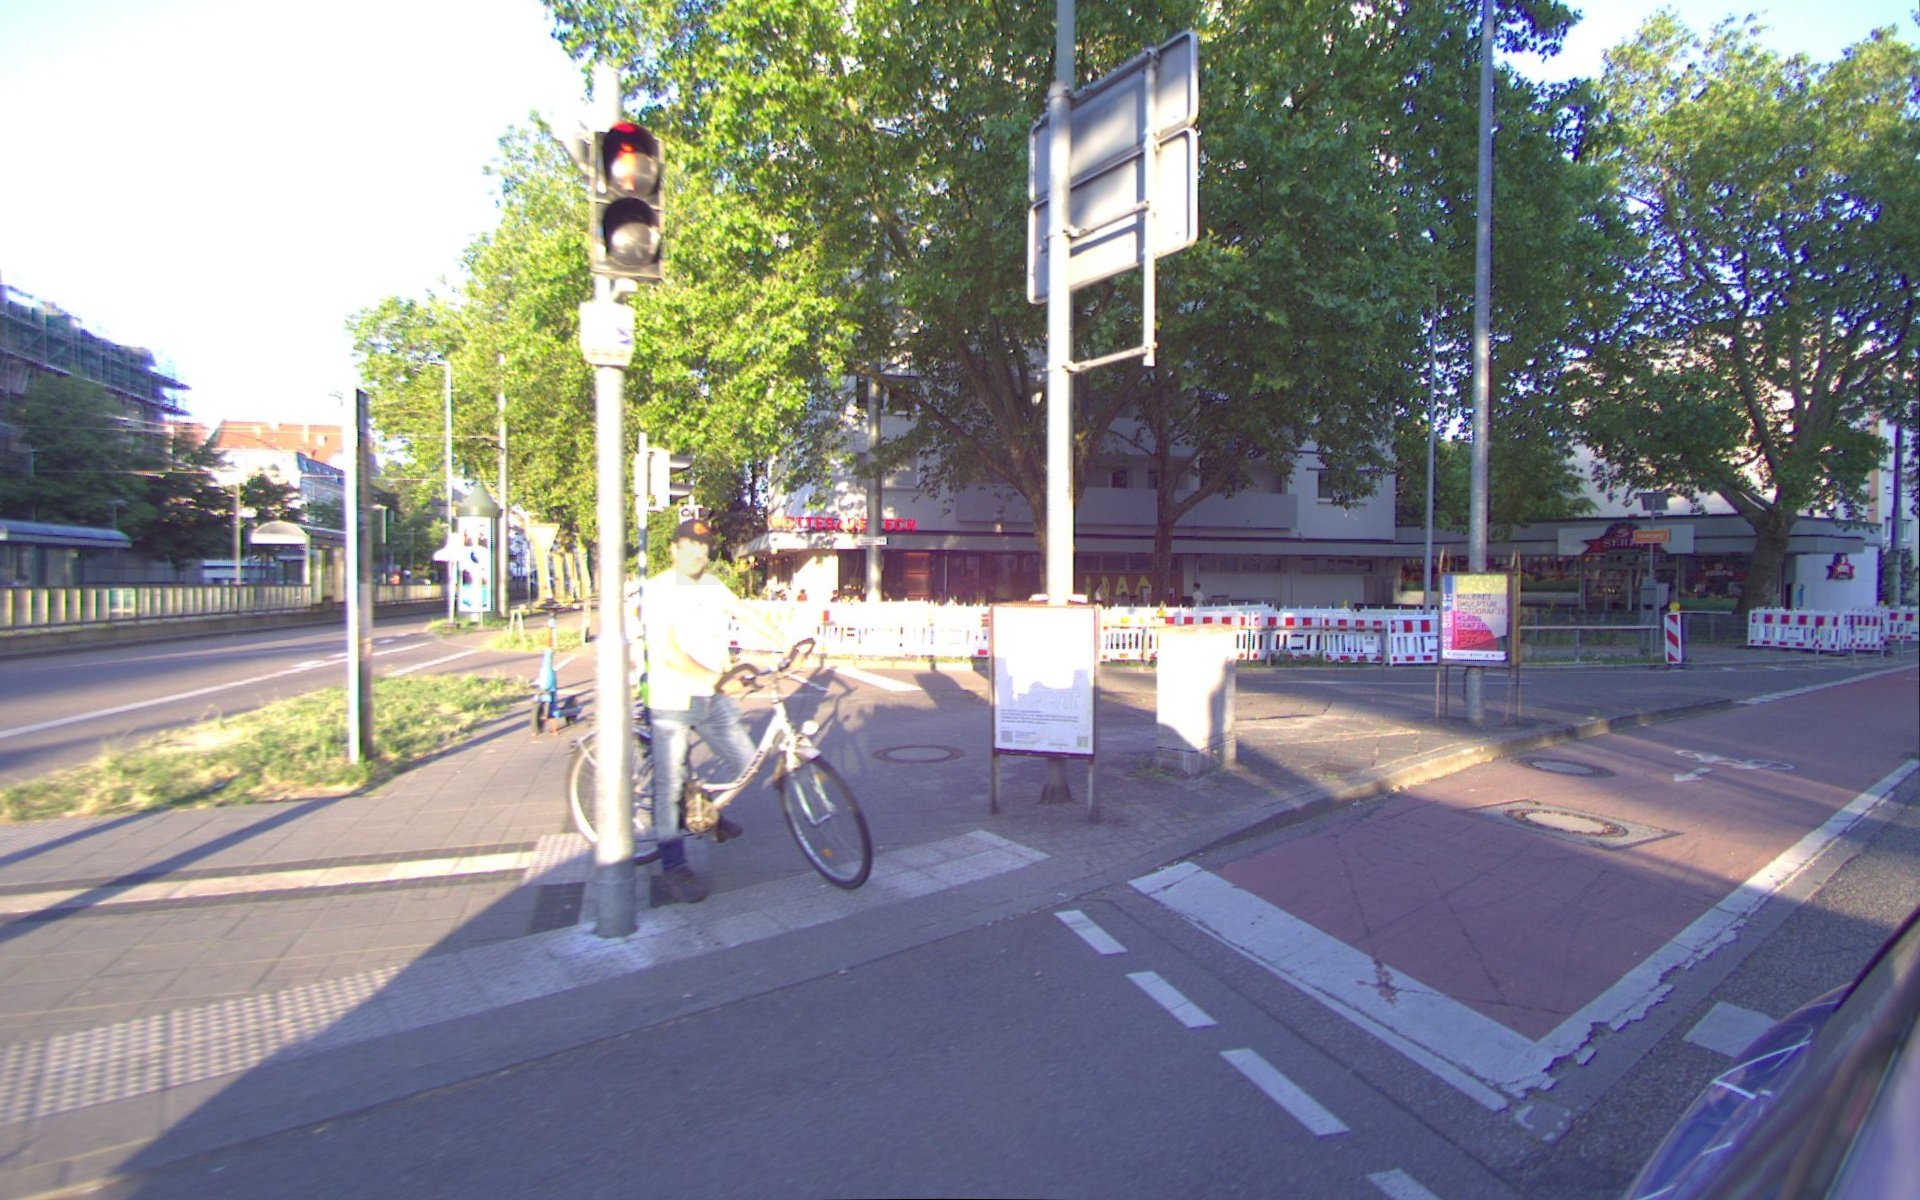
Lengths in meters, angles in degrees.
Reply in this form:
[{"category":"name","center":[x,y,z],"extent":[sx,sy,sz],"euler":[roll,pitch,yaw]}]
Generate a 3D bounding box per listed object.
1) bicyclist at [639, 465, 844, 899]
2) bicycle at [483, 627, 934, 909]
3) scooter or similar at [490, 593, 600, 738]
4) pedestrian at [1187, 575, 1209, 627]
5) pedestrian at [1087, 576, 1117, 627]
[{"category":"bicyclist","center":[-0.998,0.347,4.708],"extent":[0.689,1.847,0.624],"euler":[-1,0,18]},{"category":"bicycle","center":[-1.193,0.708,4.769],"extent":[2.045,1.123,0.624],"euler":[-1,0,19]},{"category":"scooter or similar","center":[-3.868,0.572,9.517],"extent":[0.506,1.265,1.235],"euler":[-1,1,0]},{"category":"pedestrian","center":[7.522,0.026,31.989],"extent":[0.631,1.608,0.744],"euler":[-1,0,12]},{"category":"pedestrian","center":[4.603,0.046,32.754],"extent":[0.639,1.608,0.735],"euler":[-1,0,44]}]
